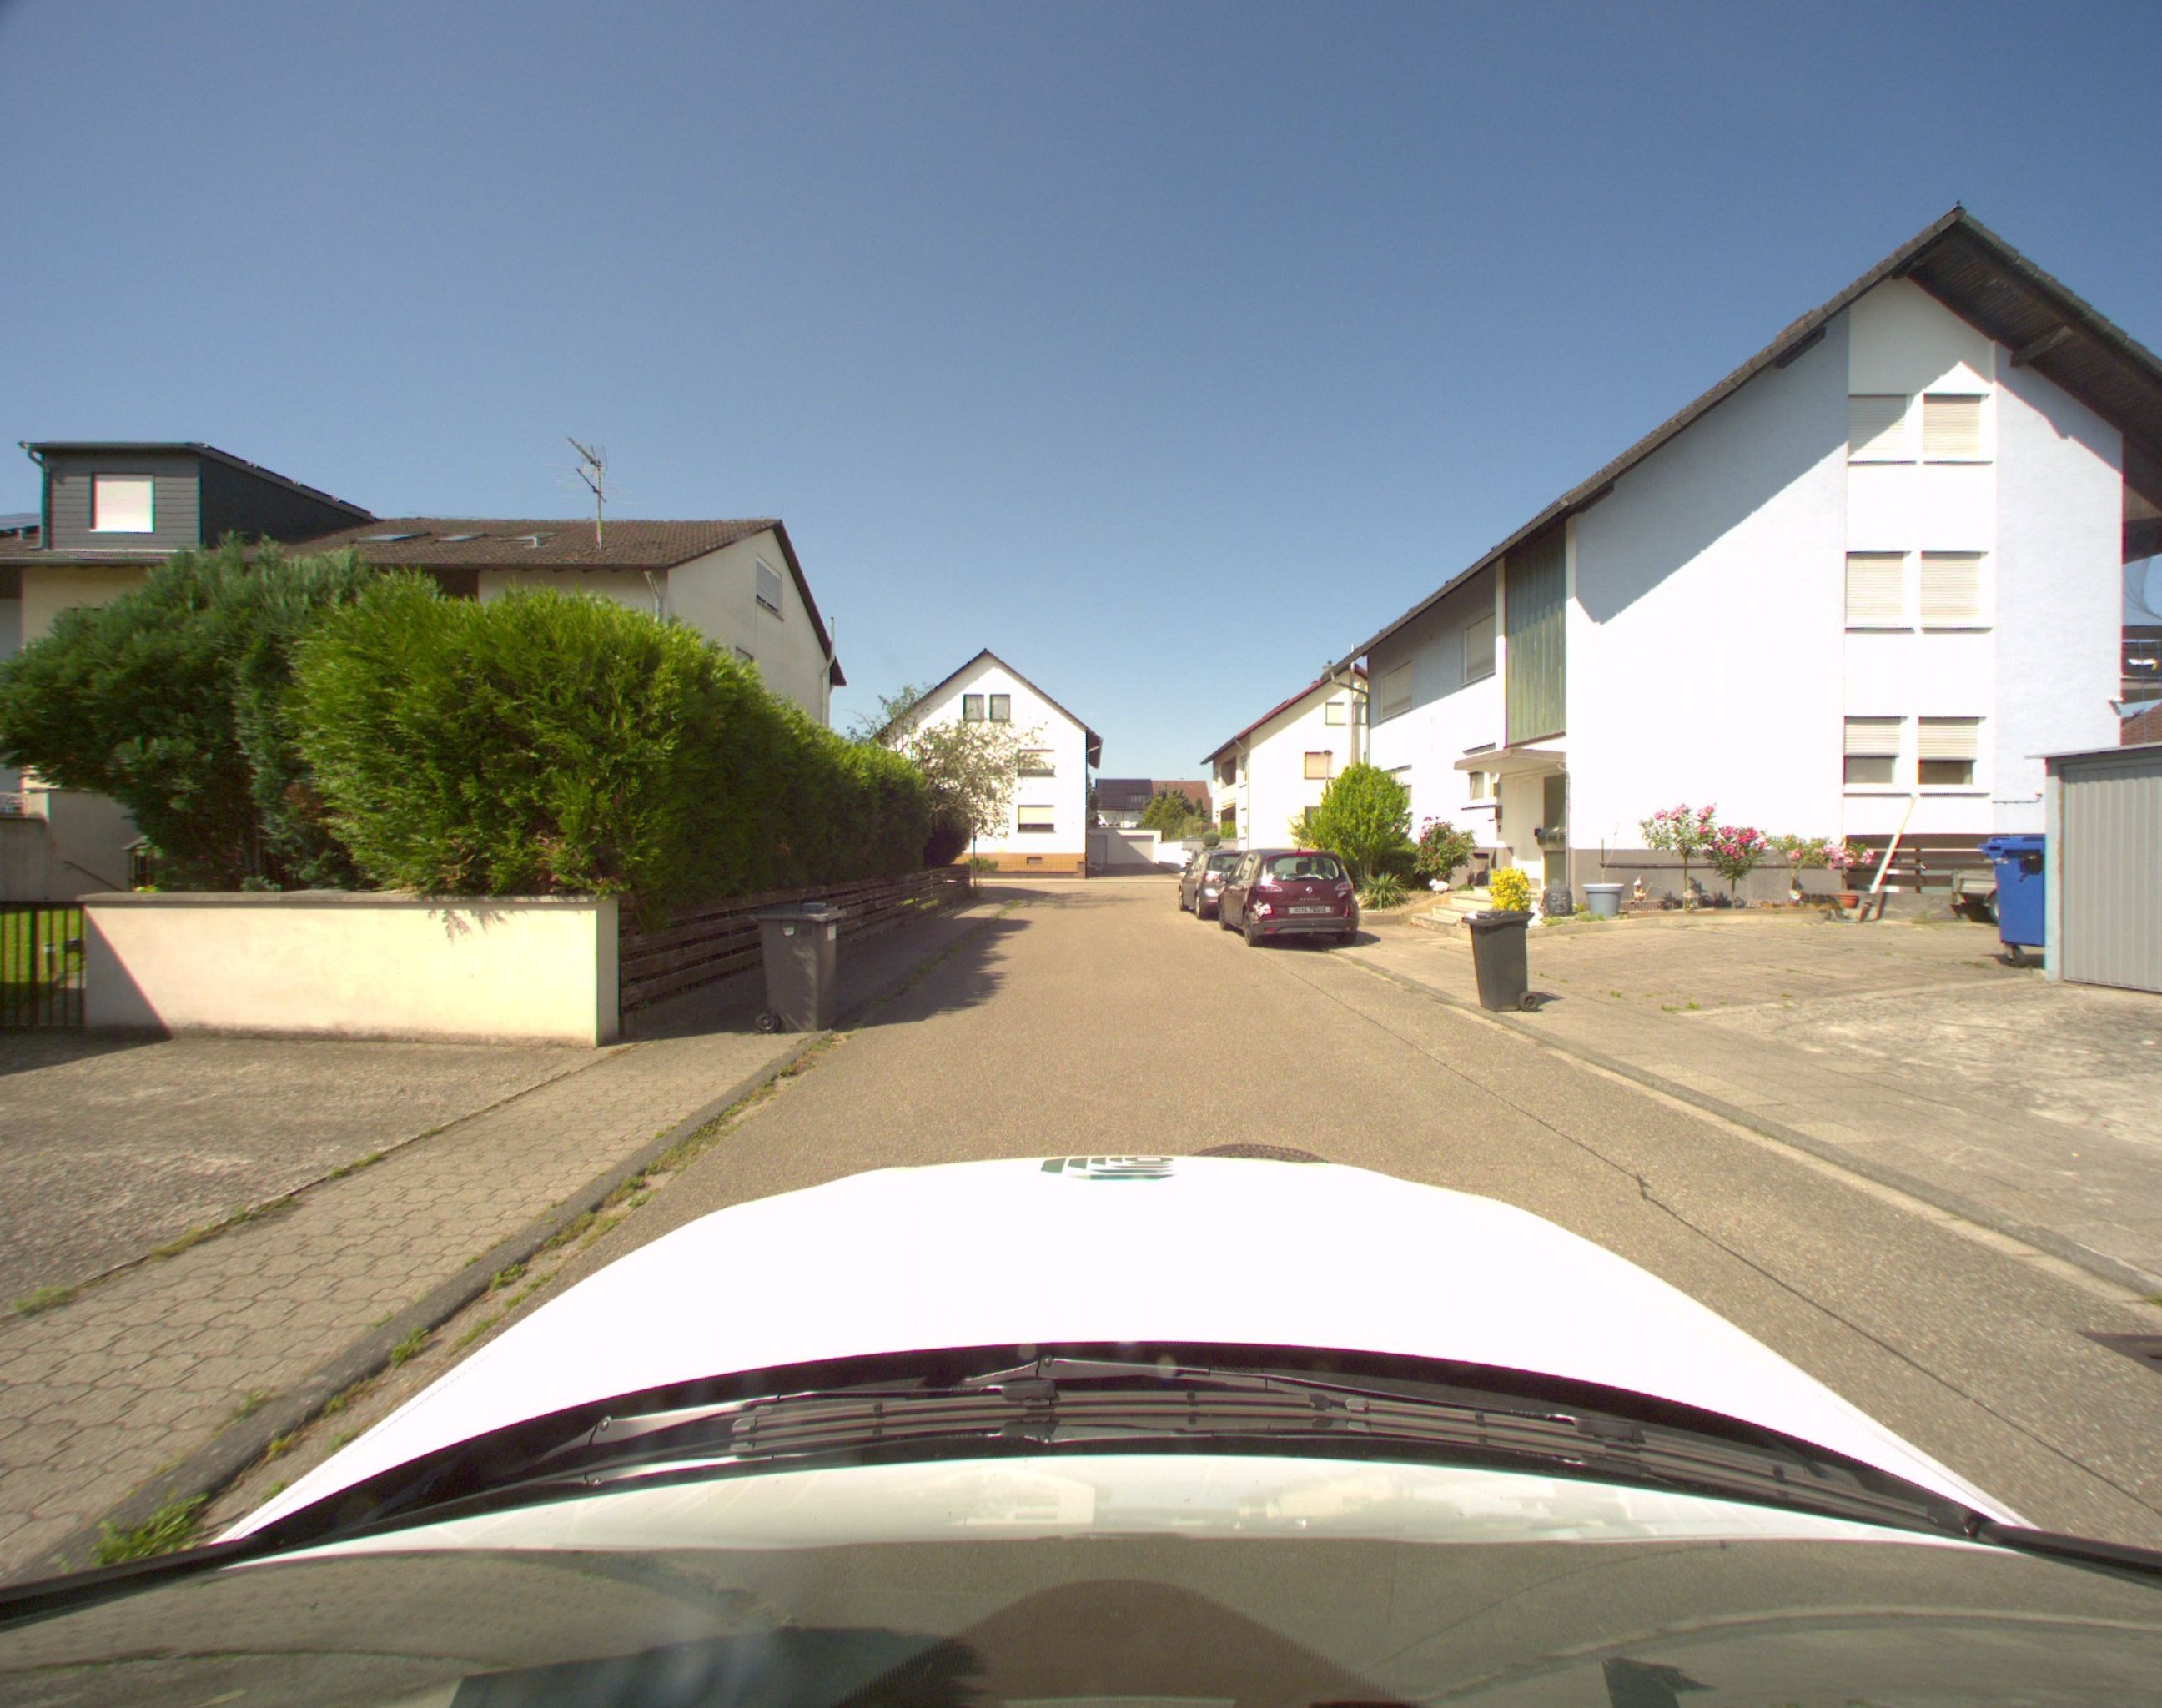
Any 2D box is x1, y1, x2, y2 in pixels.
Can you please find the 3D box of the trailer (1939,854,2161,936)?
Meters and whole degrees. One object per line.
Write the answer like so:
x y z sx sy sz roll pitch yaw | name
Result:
13.813 0.497 11.180 1.322 0.945 2.684 -1 0 2 | trailer

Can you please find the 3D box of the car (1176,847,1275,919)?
3.372 0.615 19.677 1.640 1.546 4.046 0 1 -1 | car

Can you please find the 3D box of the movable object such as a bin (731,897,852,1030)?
-2.493 0.928 7.076 0.815 1.063 0.611 -1 0 0 | movable object such as a bin

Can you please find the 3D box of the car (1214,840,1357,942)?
3.520 0.559 14.741 1.639 1.581 4.148 0 1 1 | car
